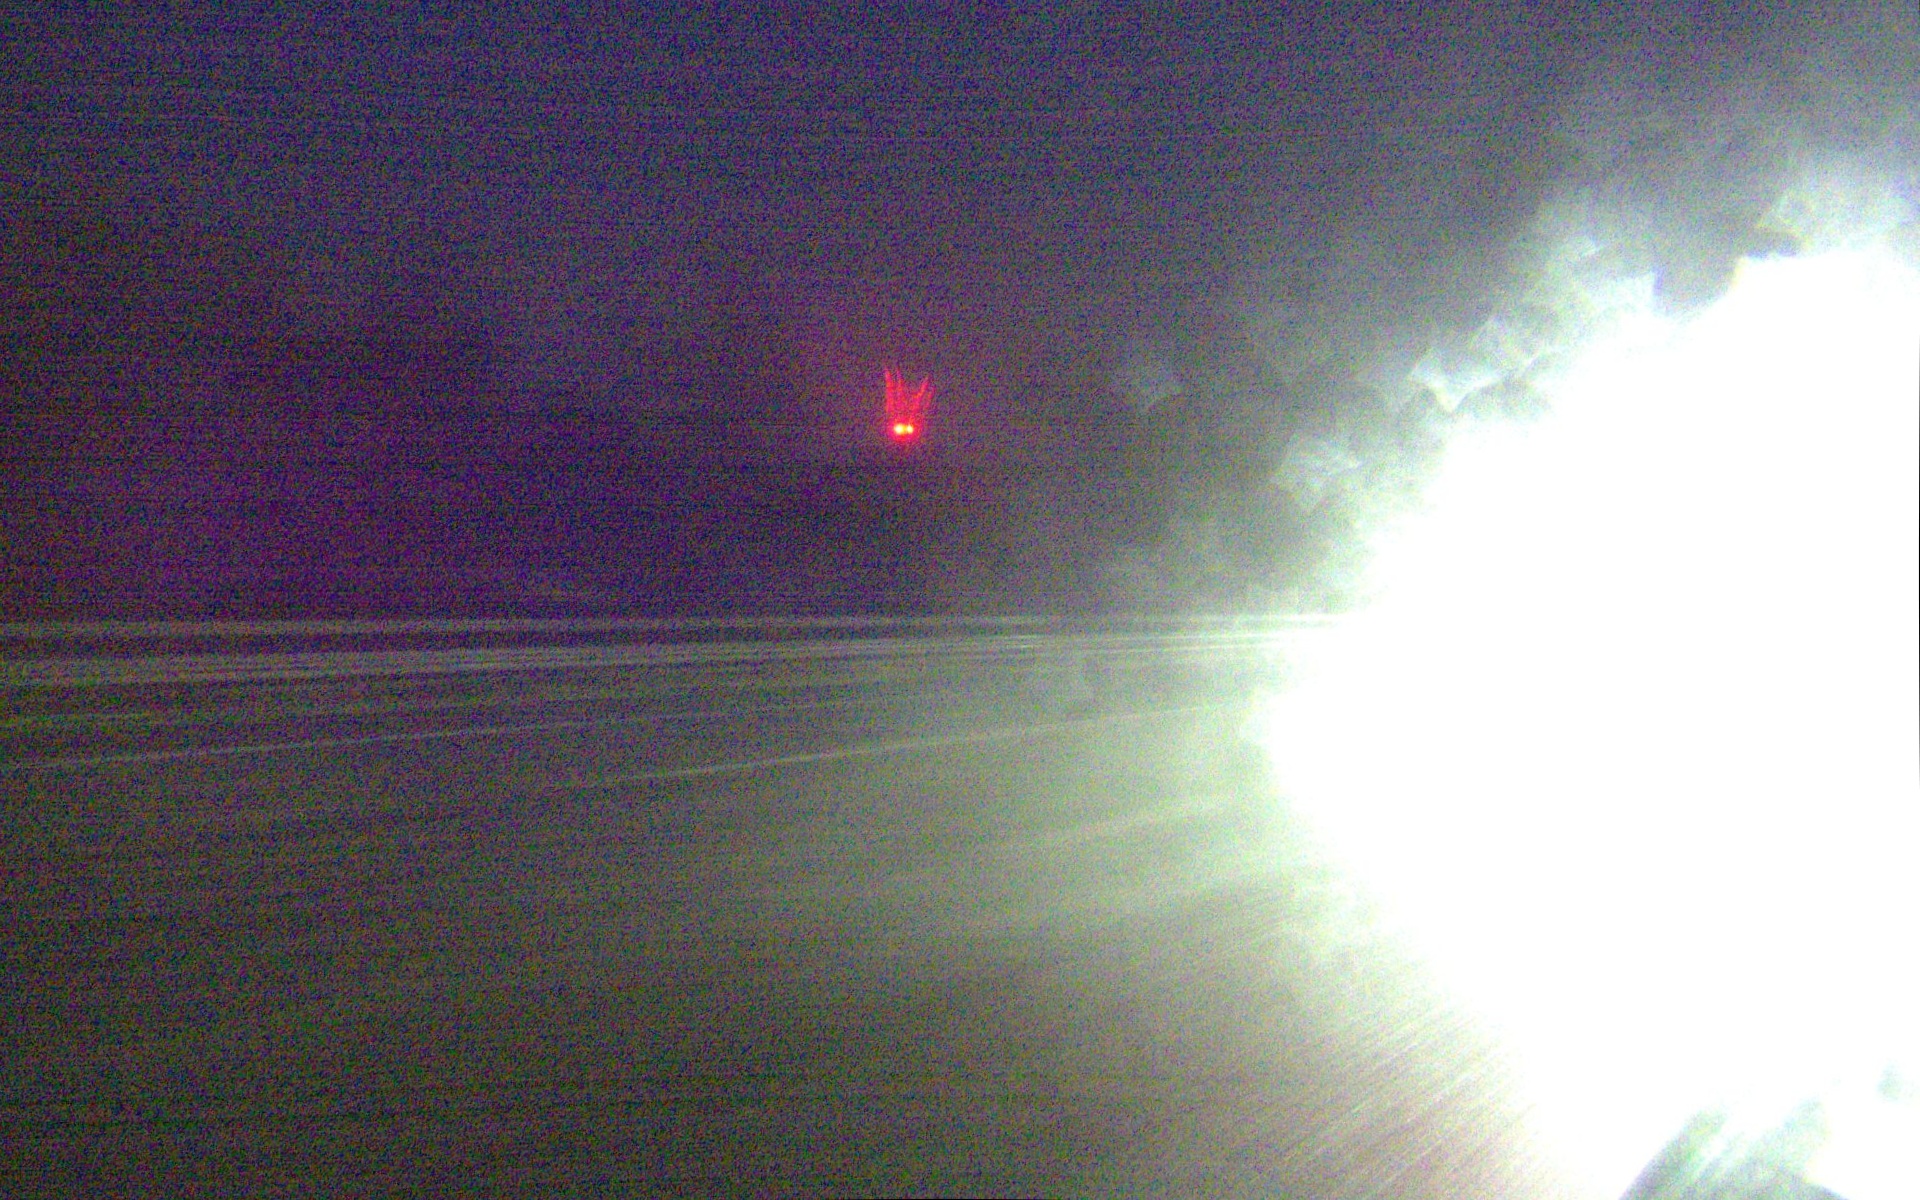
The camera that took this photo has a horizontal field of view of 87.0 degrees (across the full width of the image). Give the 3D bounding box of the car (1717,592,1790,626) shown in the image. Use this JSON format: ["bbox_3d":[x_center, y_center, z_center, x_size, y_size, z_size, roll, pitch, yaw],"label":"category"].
[{"bbox_3d":[36.977,0.426,47.134,3.968,1.516,1.724,1,-1,-37],"label":"car"}]

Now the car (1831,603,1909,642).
[{"bbox_3d":[36.954,0.858,41.058,4.262,1.467,1.996,0,0,-43],"label":"car"}]

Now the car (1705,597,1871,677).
[{"bbox_3d":[18.122,0.727,22.060,4.928,1.538,2.061,0,0,-41],"label":"car"}]
